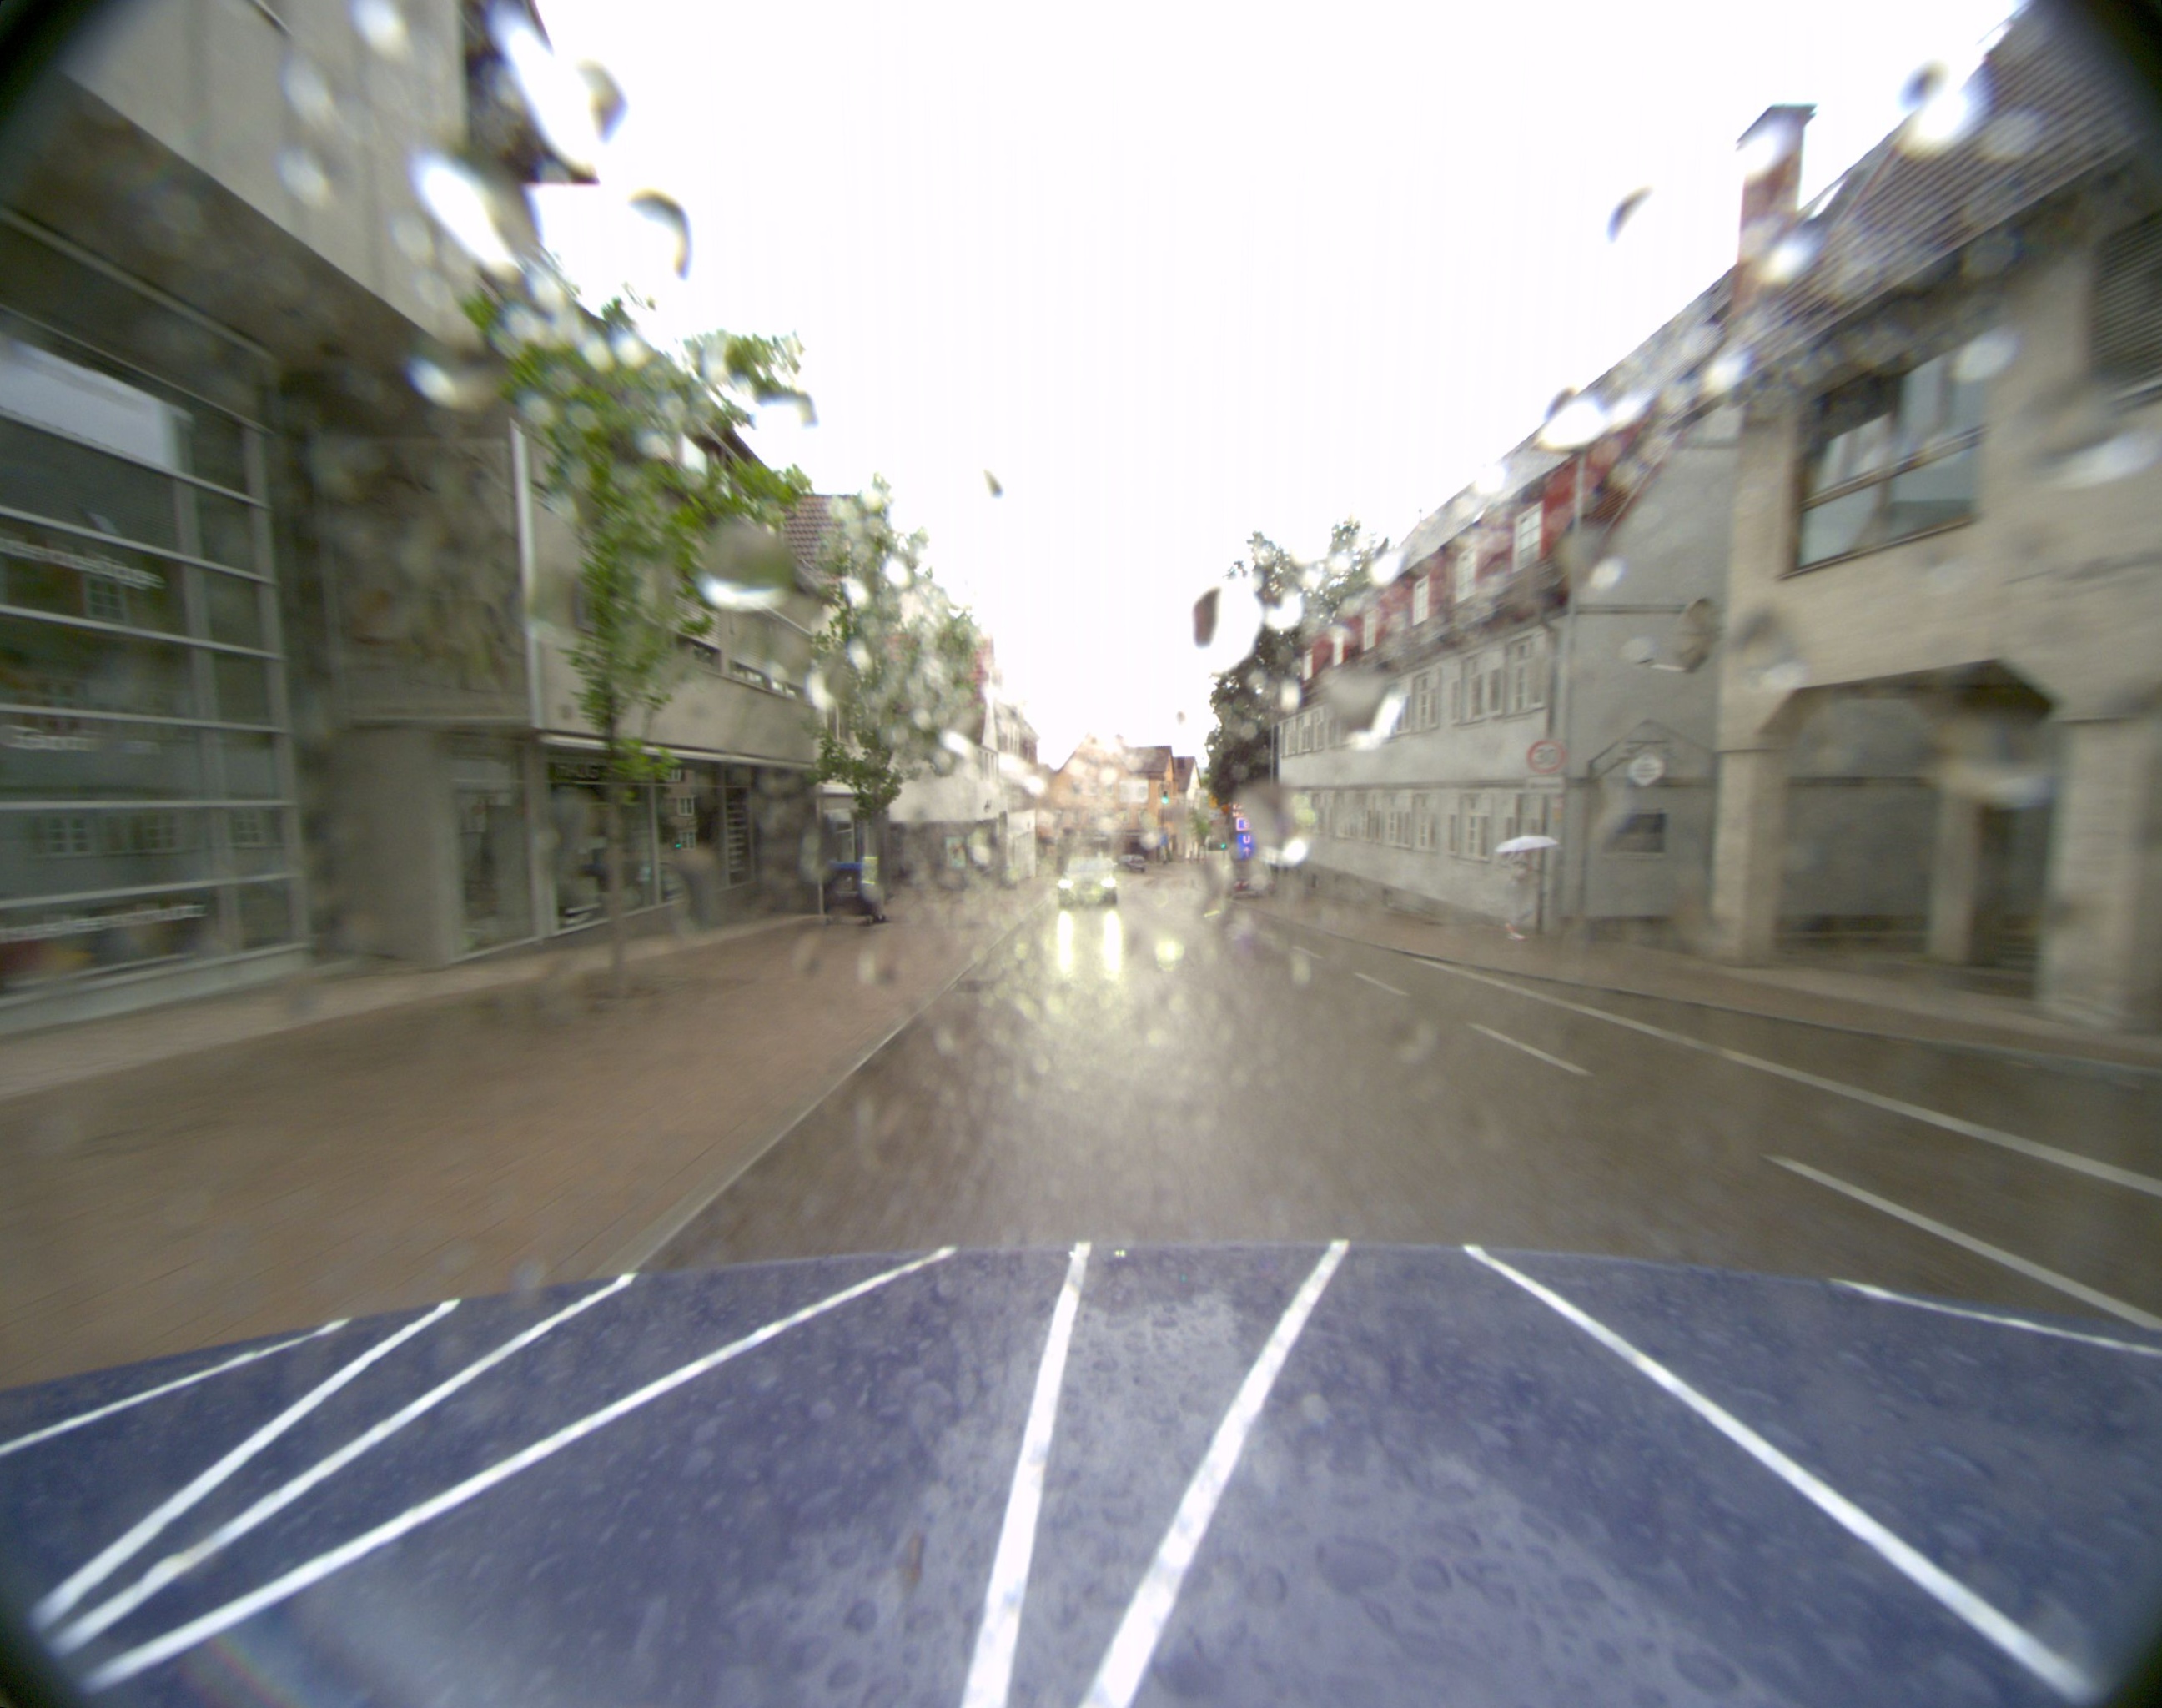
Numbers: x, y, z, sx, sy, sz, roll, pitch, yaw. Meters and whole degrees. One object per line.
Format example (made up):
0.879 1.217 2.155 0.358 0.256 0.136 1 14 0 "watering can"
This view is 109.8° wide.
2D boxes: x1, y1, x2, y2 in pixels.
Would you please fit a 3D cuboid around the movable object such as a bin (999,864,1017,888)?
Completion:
-3.188 0.944 33.046 0.571 1.022 0.467 1 1 -40 "movable object such as a bin"

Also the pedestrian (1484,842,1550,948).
7.449 0.682 13.019 0.690 1.730 0.735 -2 1 3 "pedestrian"

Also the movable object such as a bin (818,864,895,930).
-4.746 0.885 16.145 1.237 1.327 1.172 1 0 2 "movable object such as a bin"

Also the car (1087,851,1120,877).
1.421 0.591 47.903 1.967 1.598 4.383 0 0 2 "car"

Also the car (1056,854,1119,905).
0.250 0.798 25.970 1.967 1.549 4.622 0 0 1 "car"

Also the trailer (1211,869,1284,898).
6.333 1.096 29.372 1.998 0.900 4.477 -1 0 3 "trailer"

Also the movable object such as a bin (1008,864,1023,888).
-2.958 0.979 34.169 0.596 1.022 0.476 2 1 2 "movable object such as a bin"

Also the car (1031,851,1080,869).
-2.473 0.571 74.269 4.372 1.598 1.972 1 1 20 "car"

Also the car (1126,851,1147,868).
4.916 0.460 67.439 1.612 1.463 3.586 1 0 1 "car"
